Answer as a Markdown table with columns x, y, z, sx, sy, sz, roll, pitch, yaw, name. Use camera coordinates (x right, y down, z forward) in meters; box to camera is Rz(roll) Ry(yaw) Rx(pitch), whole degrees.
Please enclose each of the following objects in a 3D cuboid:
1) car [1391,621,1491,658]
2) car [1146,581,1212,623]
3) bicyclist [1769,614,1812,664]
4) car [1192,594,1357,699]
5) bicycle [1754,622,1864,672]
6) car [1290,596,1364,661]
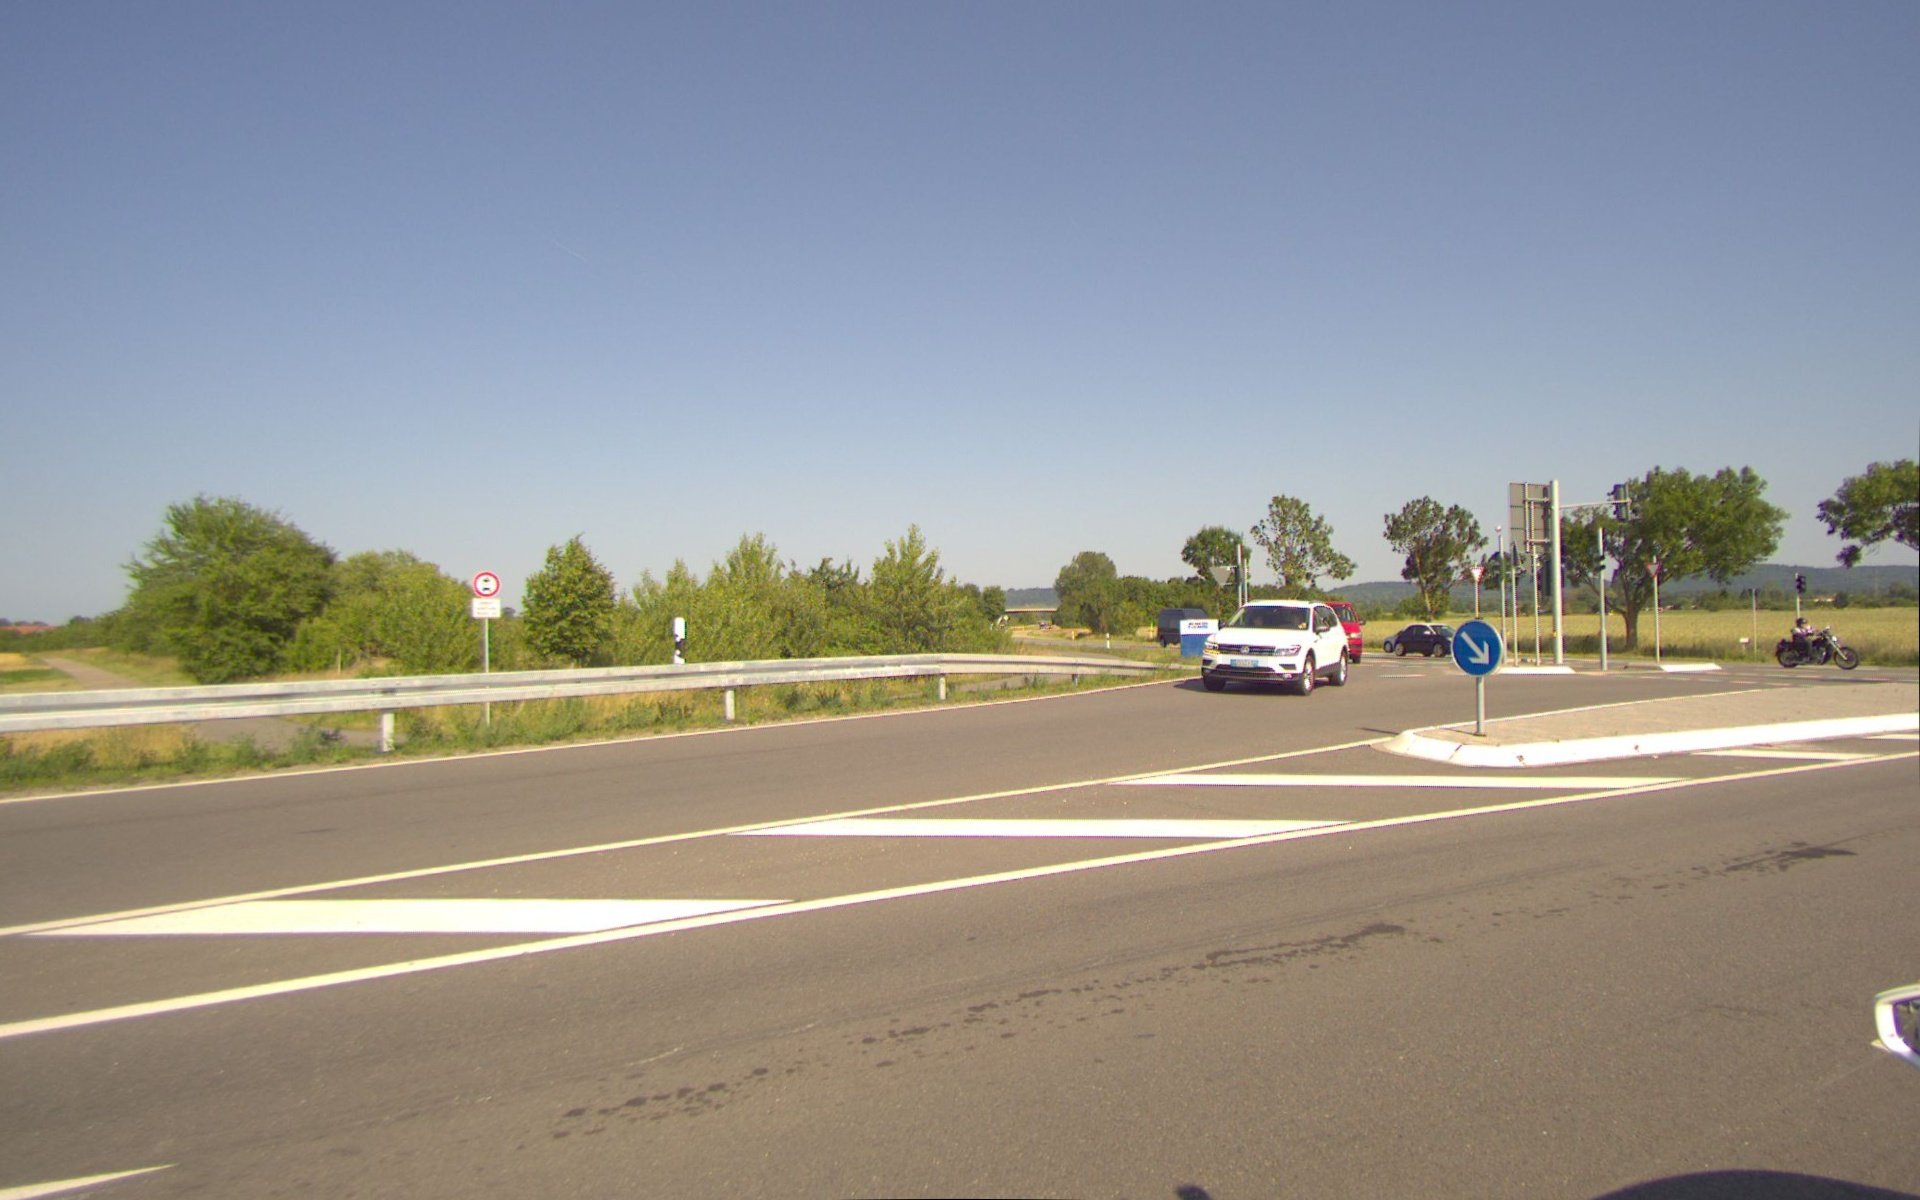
| x | y | z | sx | sy | sz | roll | pitch | yaw | name |
| --- | --- | --- | --- | --- | --- | --- | --- | --- | --- |
| 20.664 | 1.711 | 43.297 | 1.702 | 1.476 | 3.723 | -1 | -2 | -20 | car |
| 14.502 | 0.207 | 66.937 | 1.998 | 2.657 | 5.736 | 0 | -1 | -13 | car |
| 25.830 | 1.209 | 31.258 | 0.748 | 1.509 | 0.805 | 1 | 0 | -28 | bicyclist |
| 6.005 | 0.851 | 18.754 | 1.668 | 1.695 | 4.851 | 1 | -2 | 33 | car |
| 26.079 | 1.412 | 30.901 | 0.723 | 1.416 | 2.480 | 1 | 0 | -29 | bicycle |
| 12.196 | 1.013 | 33.642 | 1.802 | 1.965 | 4.930 | 1 | -2 | 14 | car |
